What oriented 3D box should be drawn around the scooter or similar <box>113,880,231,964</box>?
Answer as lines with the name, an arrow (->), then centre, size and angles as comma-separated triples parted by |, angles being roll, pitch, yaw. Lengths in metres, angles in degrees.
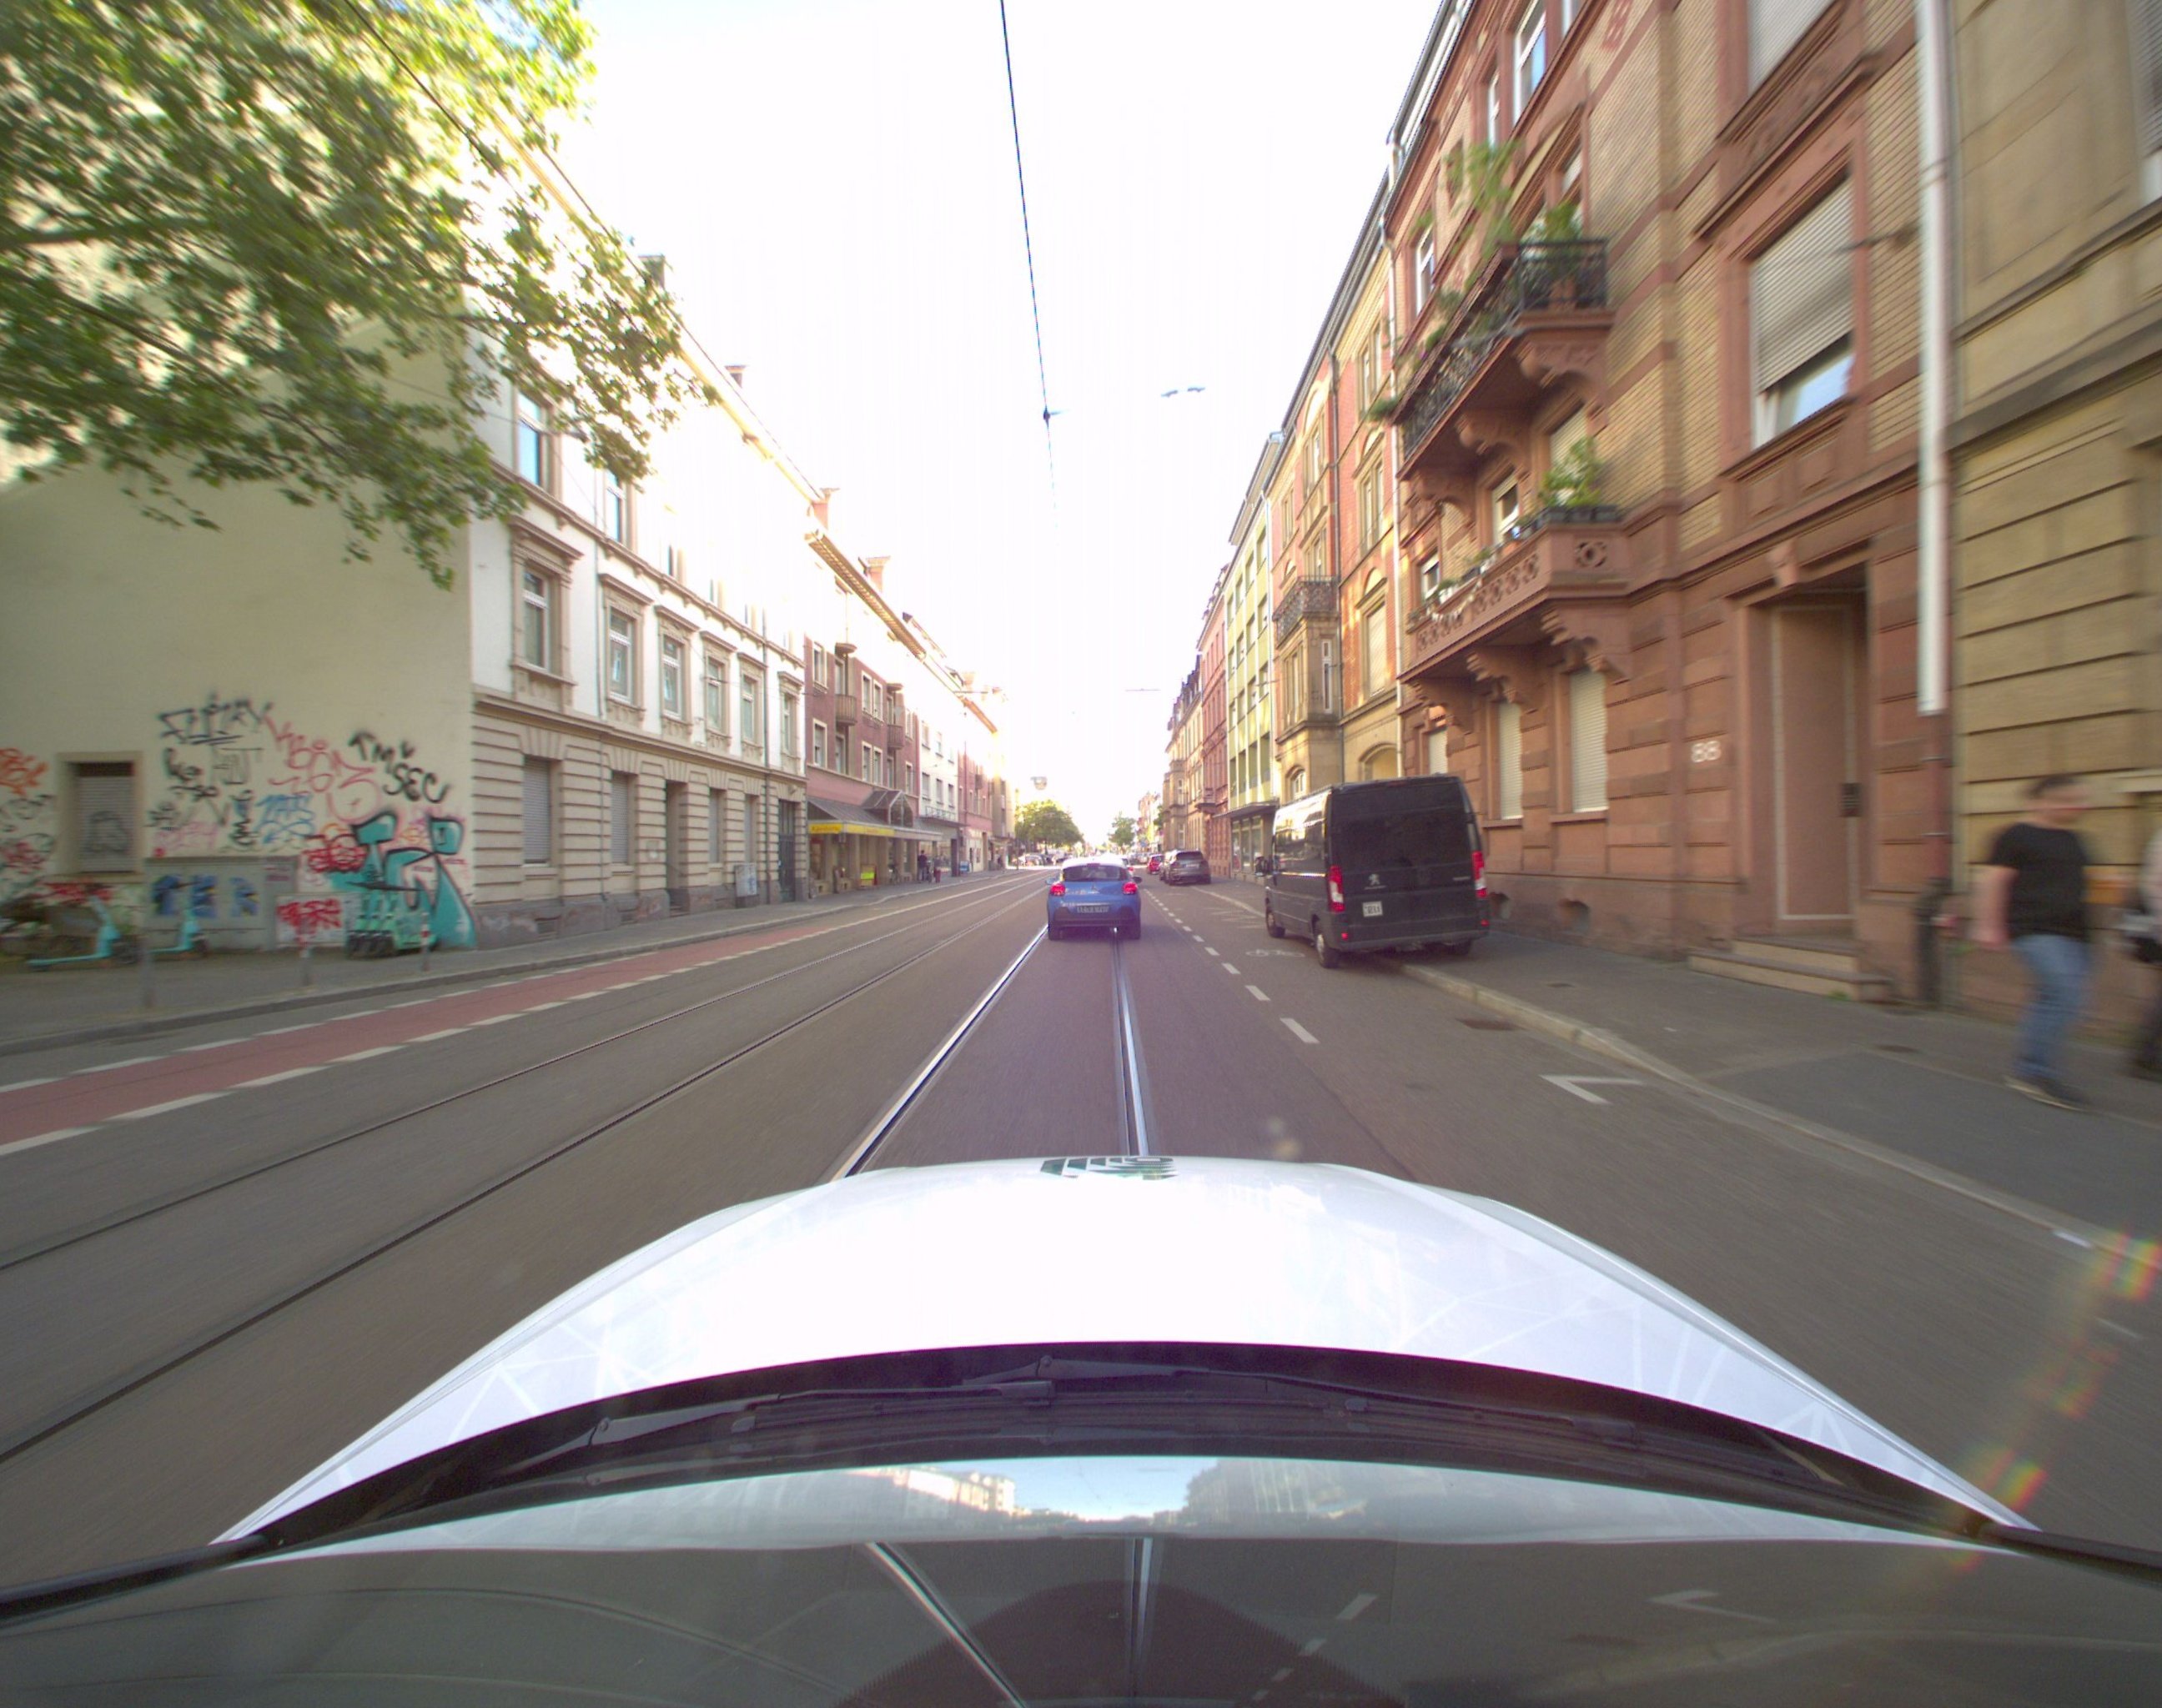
scooter or similar -> -14.214, 1.038, 12.761 | 0.937, 1.222, 0.765 | -1, 0, -11

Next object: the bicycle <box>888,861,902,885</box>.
bicycle -> -9.527, 0.941, 41.724 | 0.621, 1.159, 2.057 | -1, 0, -11

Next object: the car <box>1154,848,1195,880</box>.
car -> 5.370, 0.544, 47.264 | 1.899, 1.757, 4.000 | -1, 0, 0

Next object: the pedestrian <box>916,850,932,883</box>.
pedestrian -> -8.540, 0.683, 44.337 | 0.708, 1.764, 0.570 | -1, 0, 0

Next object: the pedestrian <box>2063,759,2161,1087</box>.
pedestrian -> 6.123, 0.367, 4.516 | 0.551, 1.782, 0.606 | -2, 0, 0

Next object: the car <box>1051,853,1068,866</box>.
car -> -2.811, 0.763, 107.303 | 1.987, 1.651, 4.000 | -1, 0, 0

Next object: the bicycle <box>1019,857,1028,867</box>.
bicycle -> -7.449, 1.031, 104.971 | 1.118, 1.319, 3.639 | -1, 0, -4

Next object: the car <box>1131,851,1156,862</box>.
car -> 9.973, 0.390, 129.968 | 3.825, 1.618, 1.791 | -1, 0, -1

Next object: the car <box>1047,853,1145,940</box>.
car -> 0.295, 0.744, 16.180 | 1.668, 1.477, 4.000 | -2, 0, 1

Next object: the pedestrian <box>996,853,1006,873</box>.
pedestrian -> -6.930, 0.773, 70.585 | 0.683, 1.638, 0.675 | -1, 0, 0

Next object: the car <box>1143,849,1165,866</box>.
car -> 7.961, 0.361, 89.131 | 1.998, 1.672, 4.392 | -2, 0, 1

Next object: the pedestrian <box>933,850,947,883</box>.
pedestrian -> -7.706, 0.700, 44.513 | 0.709, 1.764, 0.653 | -1, 0, -7

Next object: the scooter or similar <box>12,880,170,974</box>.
scooter or similar -> -14.388, 1.030, 11.875 | 1.228, 1.258, 0.765 | -1, 0, -11

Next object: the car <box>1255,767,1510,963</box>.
car -> 4.411, 0.138, 13.151 | 2.262, 2.436, 5.725 | -1, 0, 3

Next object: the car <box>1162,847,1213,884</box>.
car -> 5.221, 0.553, 40.369 | 1.998, 1.672, 4.807 | -1, 0, 1

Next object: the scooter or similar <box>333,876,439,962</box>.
scooter or similar -> -11.307, 1.028, 13.293 | 0.785, 1.271, 1.075 | 1, 1, 0

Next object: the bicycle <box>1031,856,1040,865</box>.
bicycle -> -5.874, 0.843, 105.188 | 1.118, 1.146, 3.639 | -1, 0, -4

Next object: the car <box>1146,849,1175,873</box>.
car -> 6.285, 0.546, 64.636 | 1.998, 1.672, 4.393 | 0, 3, 1

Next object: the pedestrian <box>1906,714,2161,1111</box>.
pedestrian -> 5.353, 0.294, 4.565 | 0.583, 2.013, 0.823 | -1, 0, 0

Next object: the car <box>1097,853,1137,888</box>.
car -> 1.576, 0.701, 37.031 | 1.661, 1.478, 4.000 | -1, 0, 0

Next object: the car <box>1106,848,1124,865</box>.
car -> 4.046, 0.315, 97.639 | 1.987, 2.013, 4.000 | -1, 0, 0

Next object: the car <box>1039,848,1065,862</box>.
car -> -5.537, 0.180, 153.549 | 4.328, 2.581, 2.192 | -1, 0, -25

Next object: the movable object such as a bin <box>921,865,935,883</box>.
movable object such as a bin -> -8.451, 1.101, 45.044 | 0.608, 0.914, 0.695 | -1, 0, 1
